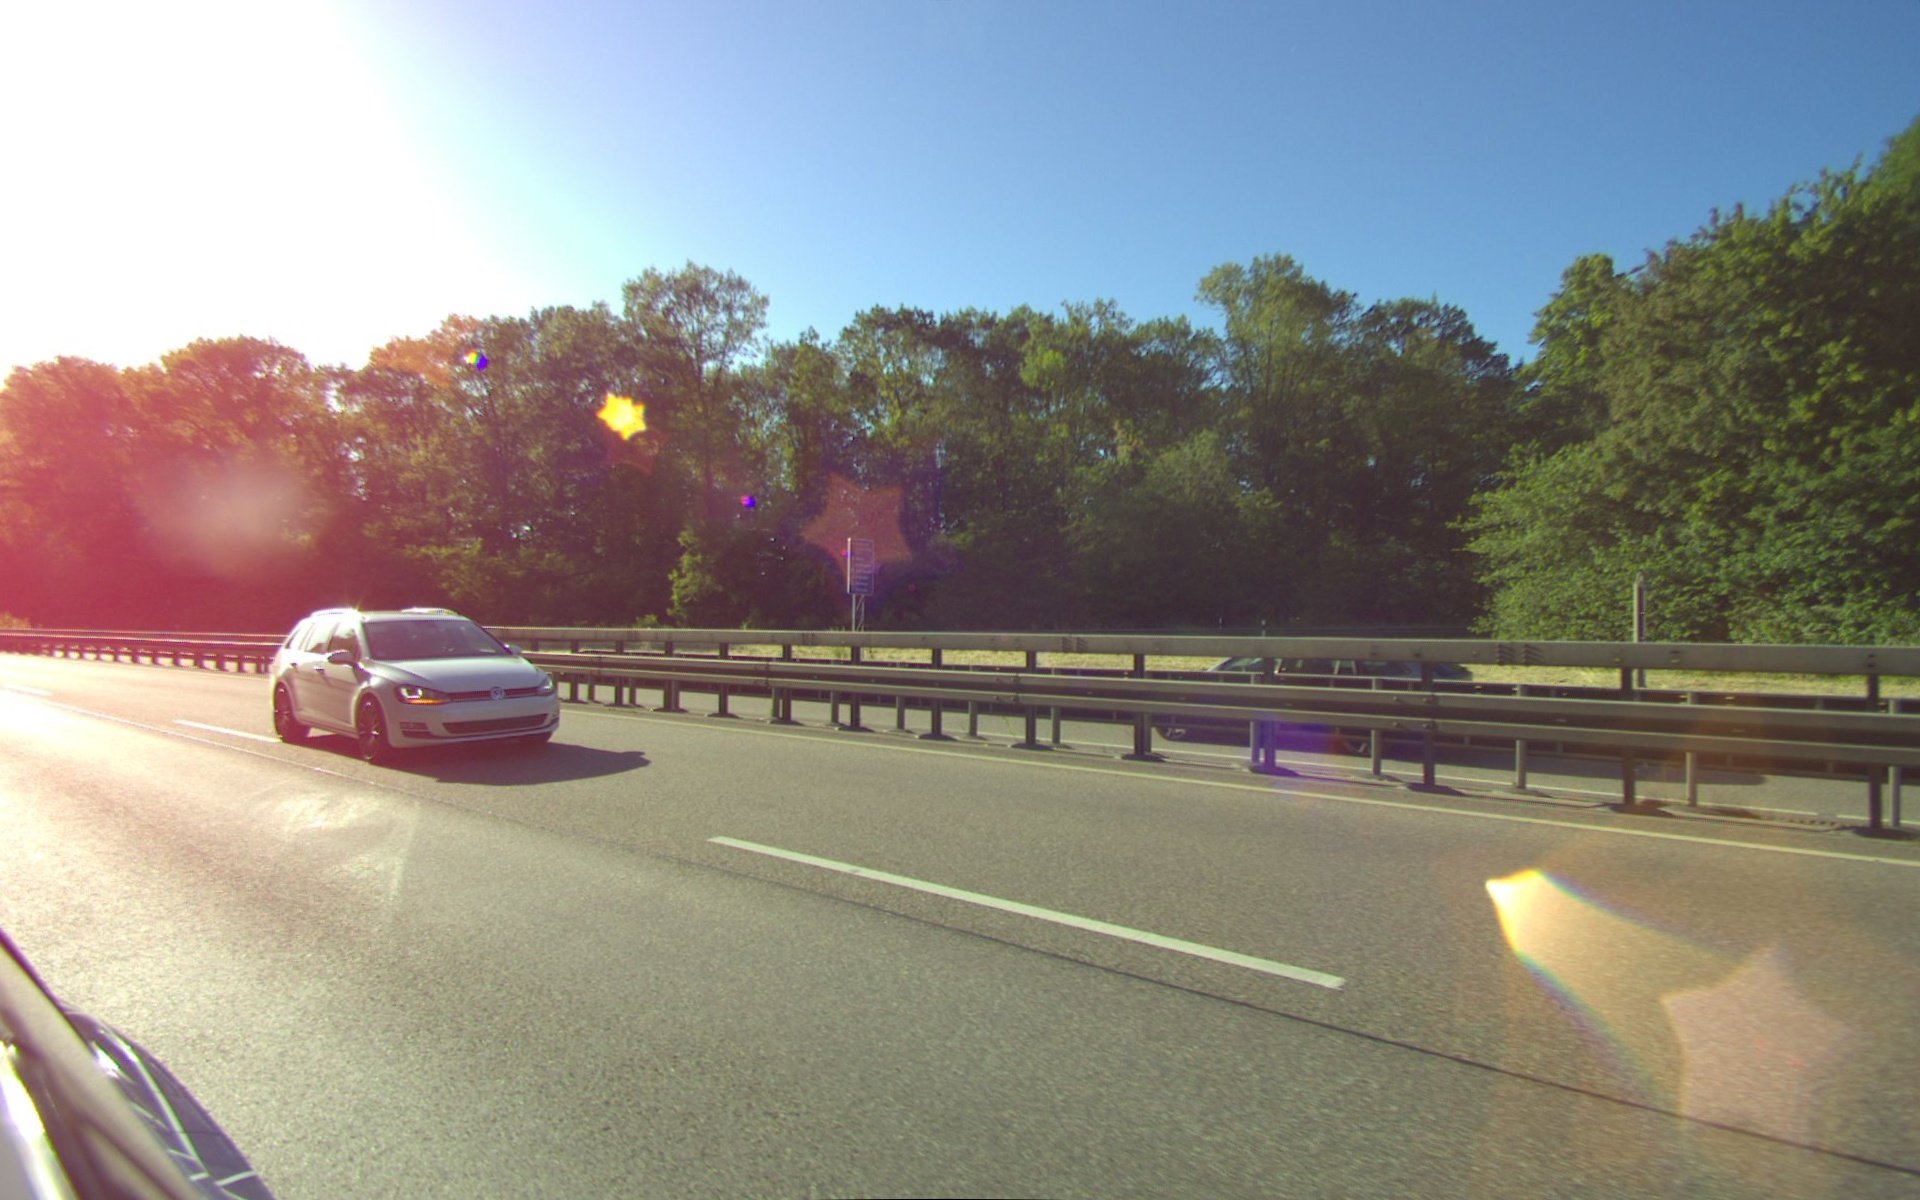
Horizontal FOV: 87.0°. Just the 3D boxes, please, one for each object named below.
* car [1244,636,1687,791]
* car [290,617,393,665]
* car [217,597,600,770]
[{"bbox_3d":[6.210,1.262,12.780,4.700,1.519,1.910,-1,-1,40],"label":"car"},{"bbox_3d":[-25.849,1.640,42.247,5.304,1.862,1.974,-1,-1,38],"label":"car"},{"bbox_3d":[-6.439,0.779,11.443,5.594,1.519,1.910,-1,-1,40],"label":"car"}]
